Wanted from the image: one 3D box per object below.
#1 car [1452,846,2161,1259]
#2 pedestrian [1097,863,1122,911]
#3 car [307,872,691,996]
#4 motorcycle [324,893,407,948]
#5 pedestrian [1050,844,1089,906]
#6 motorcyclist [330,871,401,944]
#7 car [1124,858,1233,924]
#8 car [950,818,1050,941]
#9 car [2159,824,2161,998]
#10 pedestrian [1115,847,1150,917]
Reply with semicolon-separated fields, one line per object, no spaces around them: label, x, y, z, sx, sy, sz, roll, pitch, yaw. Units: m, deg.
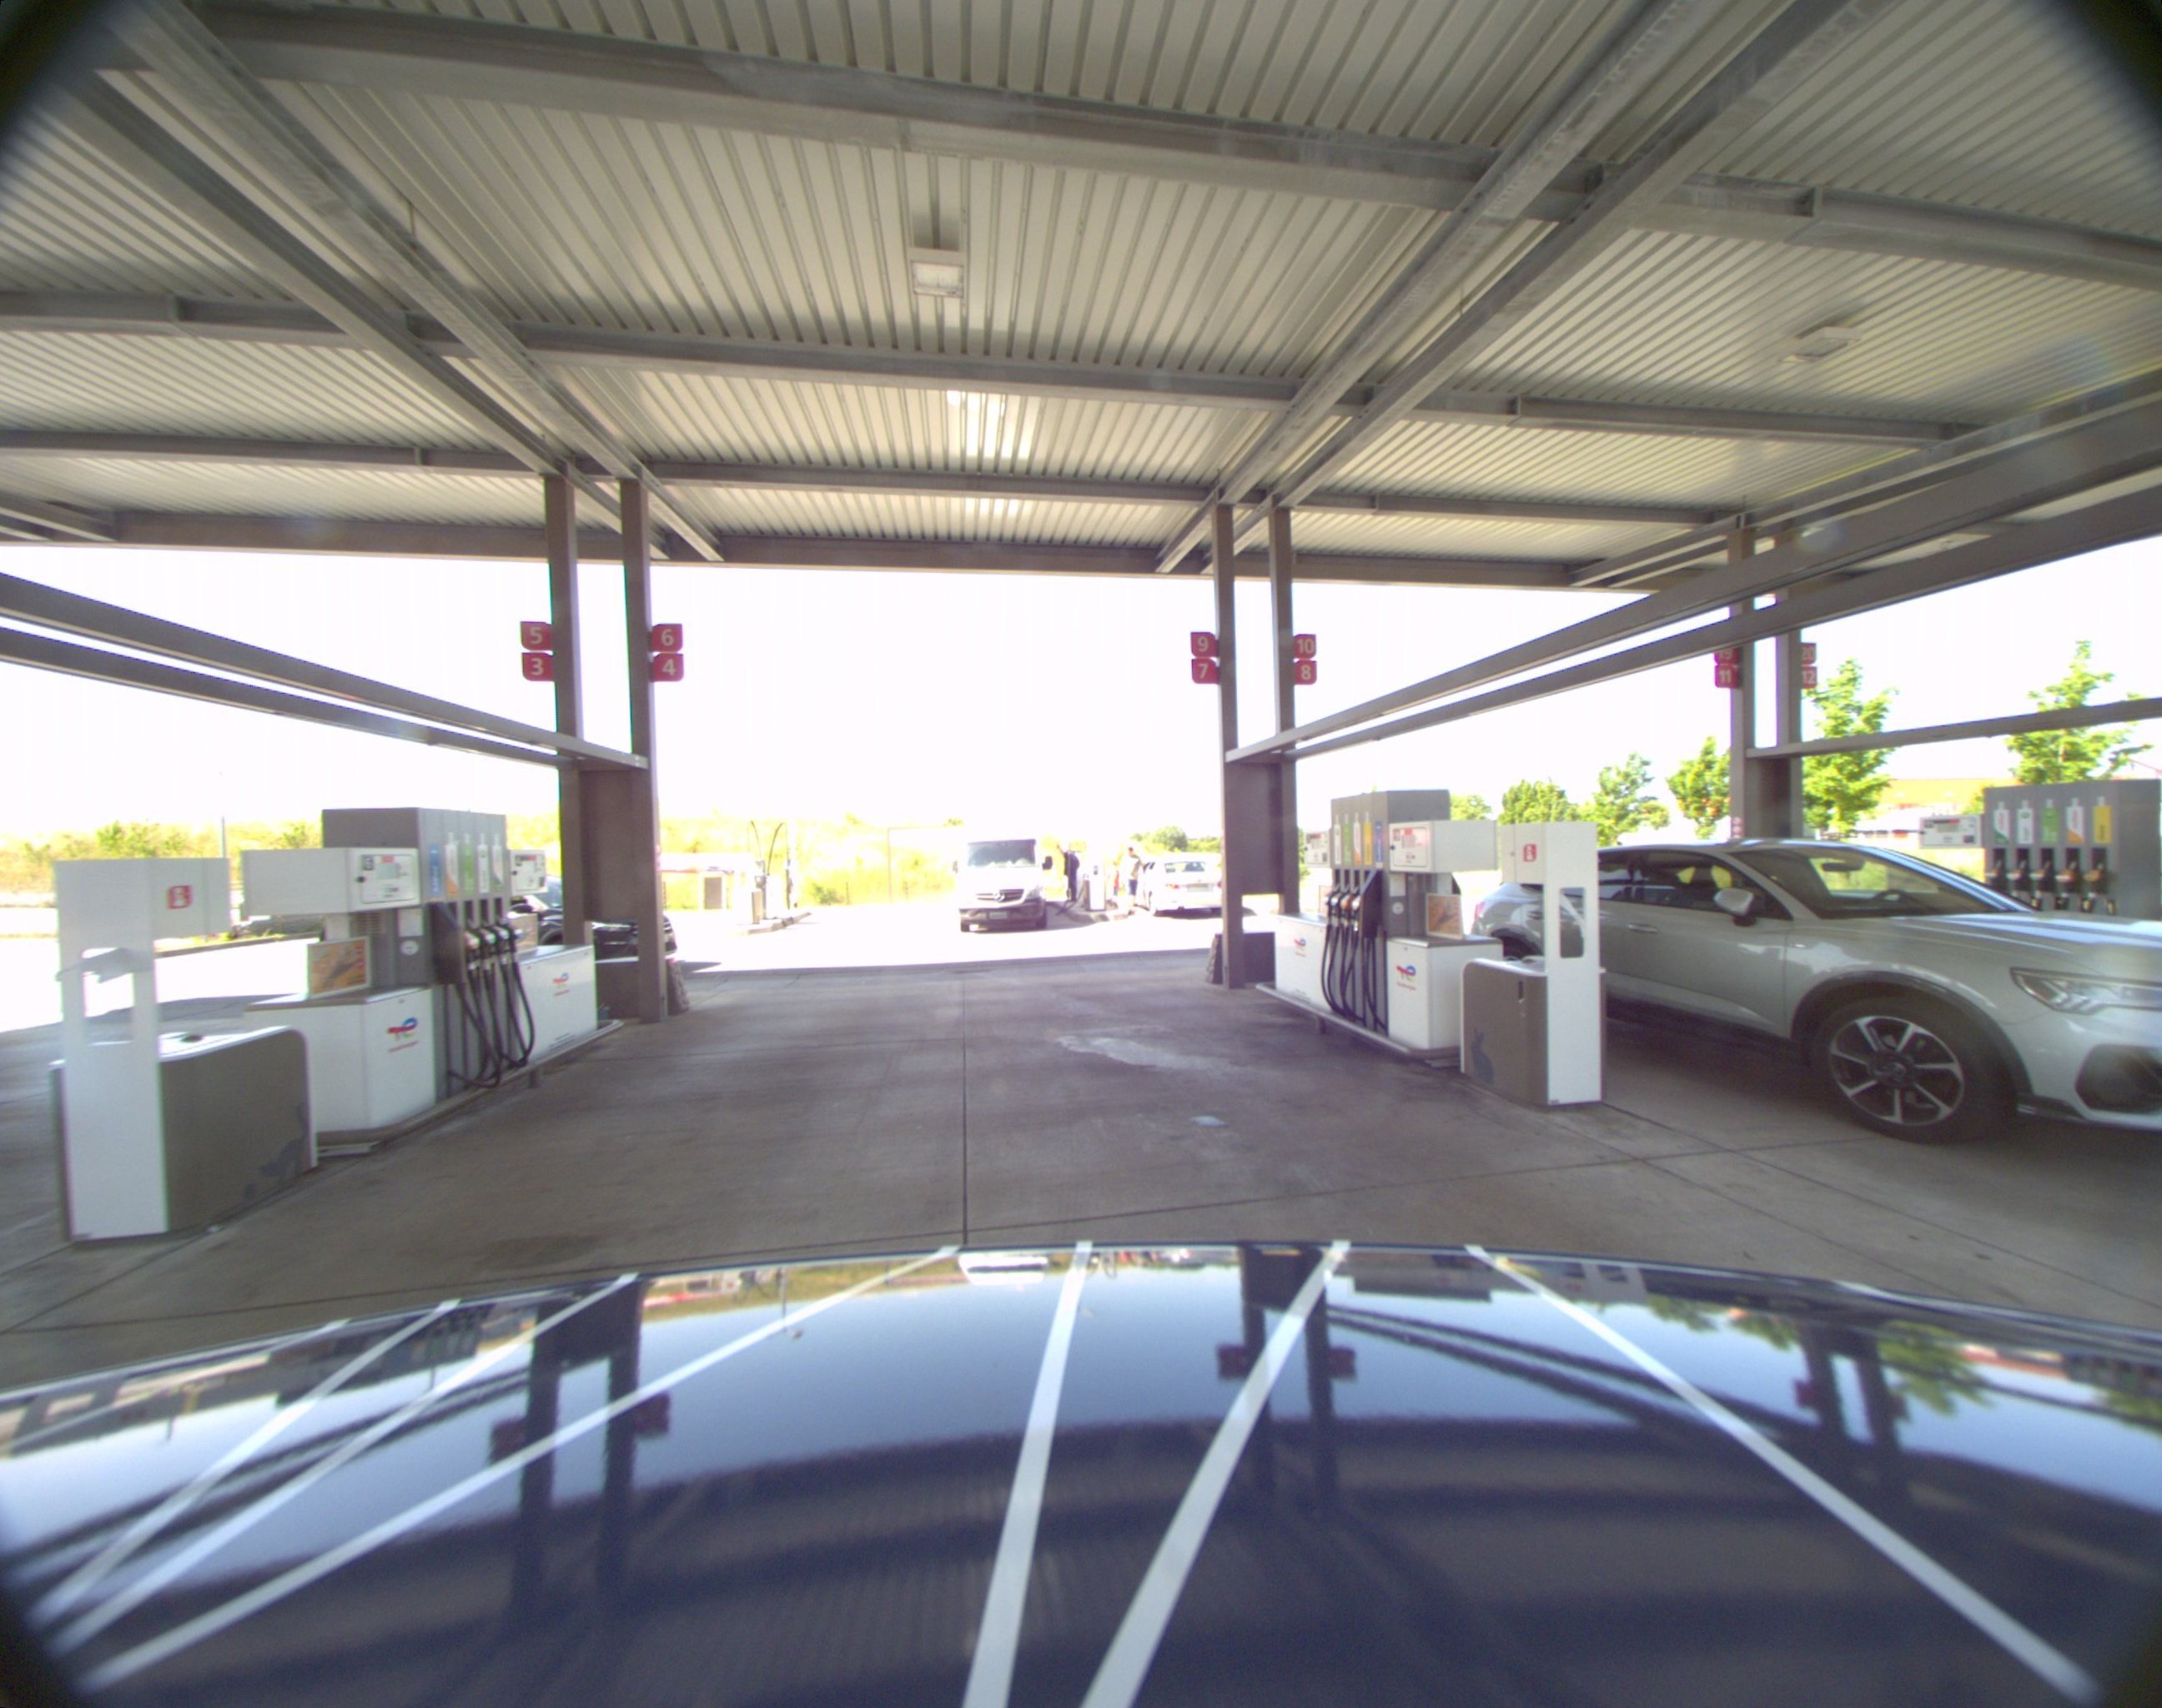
car;4.654;0.751;5.045;1.786;1.532;4.322;-2;0;-8
pedestrian;0.813;0.927;21.462;0.578;1.299;0.668;-2;0;-6
car;-8.742;1.170;11.650;4.627;1.635;1.744;-2;0;4
motorcycle;-17.544;1.594;18.706;1.047;1.099;2.409;-1;1;-33
pedestrian;-0.333;0.591;22.093;0.843;1.759;0.711;-1;1;38
motorcyclist;-17.483;1.265;18.598;1.036;1.678;1.096;-2;1;-33
car;2.427;0.871;20.024;1.793;1.420;4.318;-2;1;-8
car;-1.848;0.415;19.485;1.999;2.557;7.026;-1;2;-2
car;11.805;0.510;5.321;1.866;1.677;4.531;-2;0;-13
pedestrian;1.316;0.714;19.604;0.709;1.739;0.844;-2;0;-6
